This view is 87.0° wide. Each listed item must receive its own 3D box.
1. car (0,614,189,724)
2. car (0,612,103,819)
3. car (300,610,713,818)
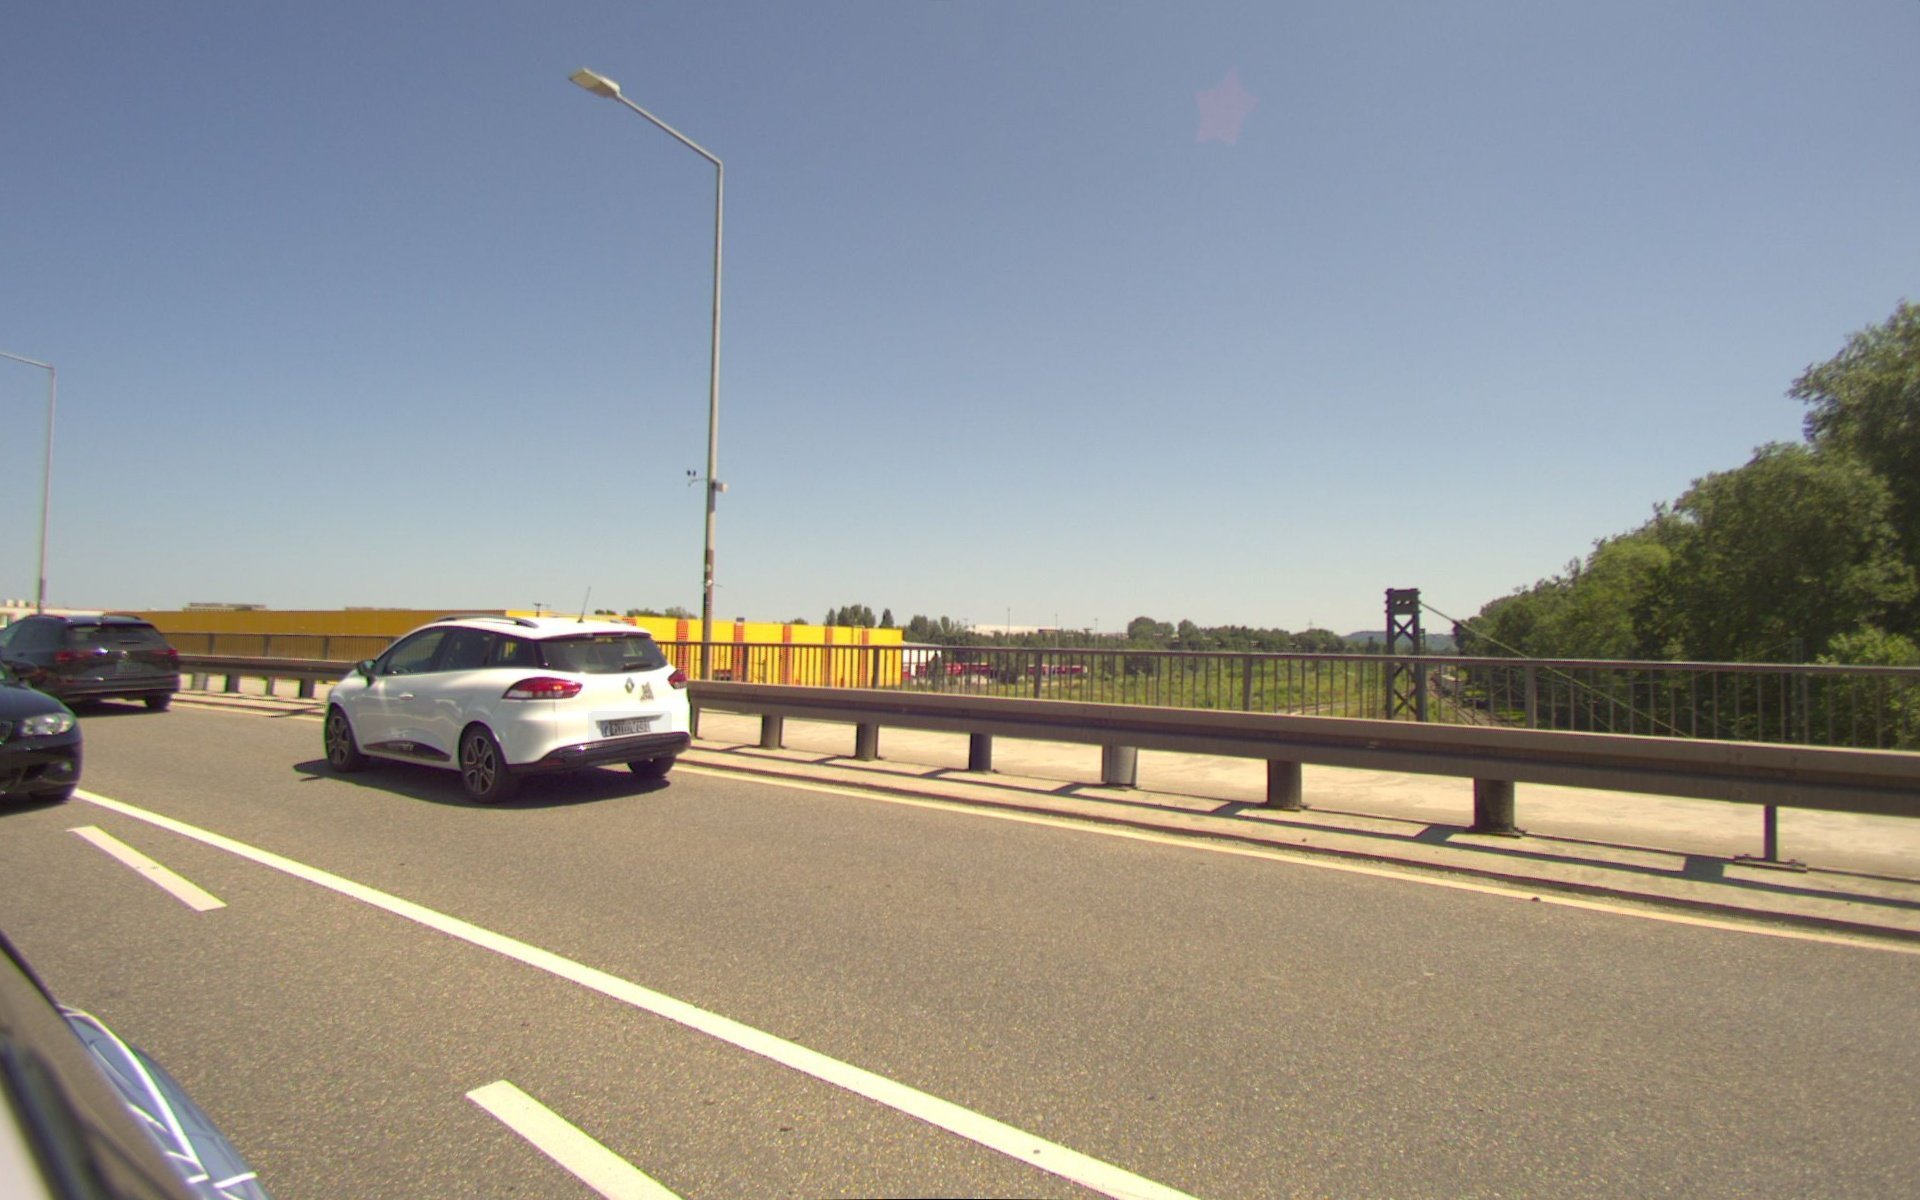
[{"bbox_3d":[-13.748,0.969,15.664,4.450,1.480,1.695,-1,-1,36],"label":"car"},{"bbox_3d":[-8.831,0.840,8.229,4.513,1.466,1.774,-1,-1,35],"label":"car"},{"bbox_3d":[-4.138,0.834,8.983,4.048,1.460,1.585,-1,-1,36],"label":"car"}]
